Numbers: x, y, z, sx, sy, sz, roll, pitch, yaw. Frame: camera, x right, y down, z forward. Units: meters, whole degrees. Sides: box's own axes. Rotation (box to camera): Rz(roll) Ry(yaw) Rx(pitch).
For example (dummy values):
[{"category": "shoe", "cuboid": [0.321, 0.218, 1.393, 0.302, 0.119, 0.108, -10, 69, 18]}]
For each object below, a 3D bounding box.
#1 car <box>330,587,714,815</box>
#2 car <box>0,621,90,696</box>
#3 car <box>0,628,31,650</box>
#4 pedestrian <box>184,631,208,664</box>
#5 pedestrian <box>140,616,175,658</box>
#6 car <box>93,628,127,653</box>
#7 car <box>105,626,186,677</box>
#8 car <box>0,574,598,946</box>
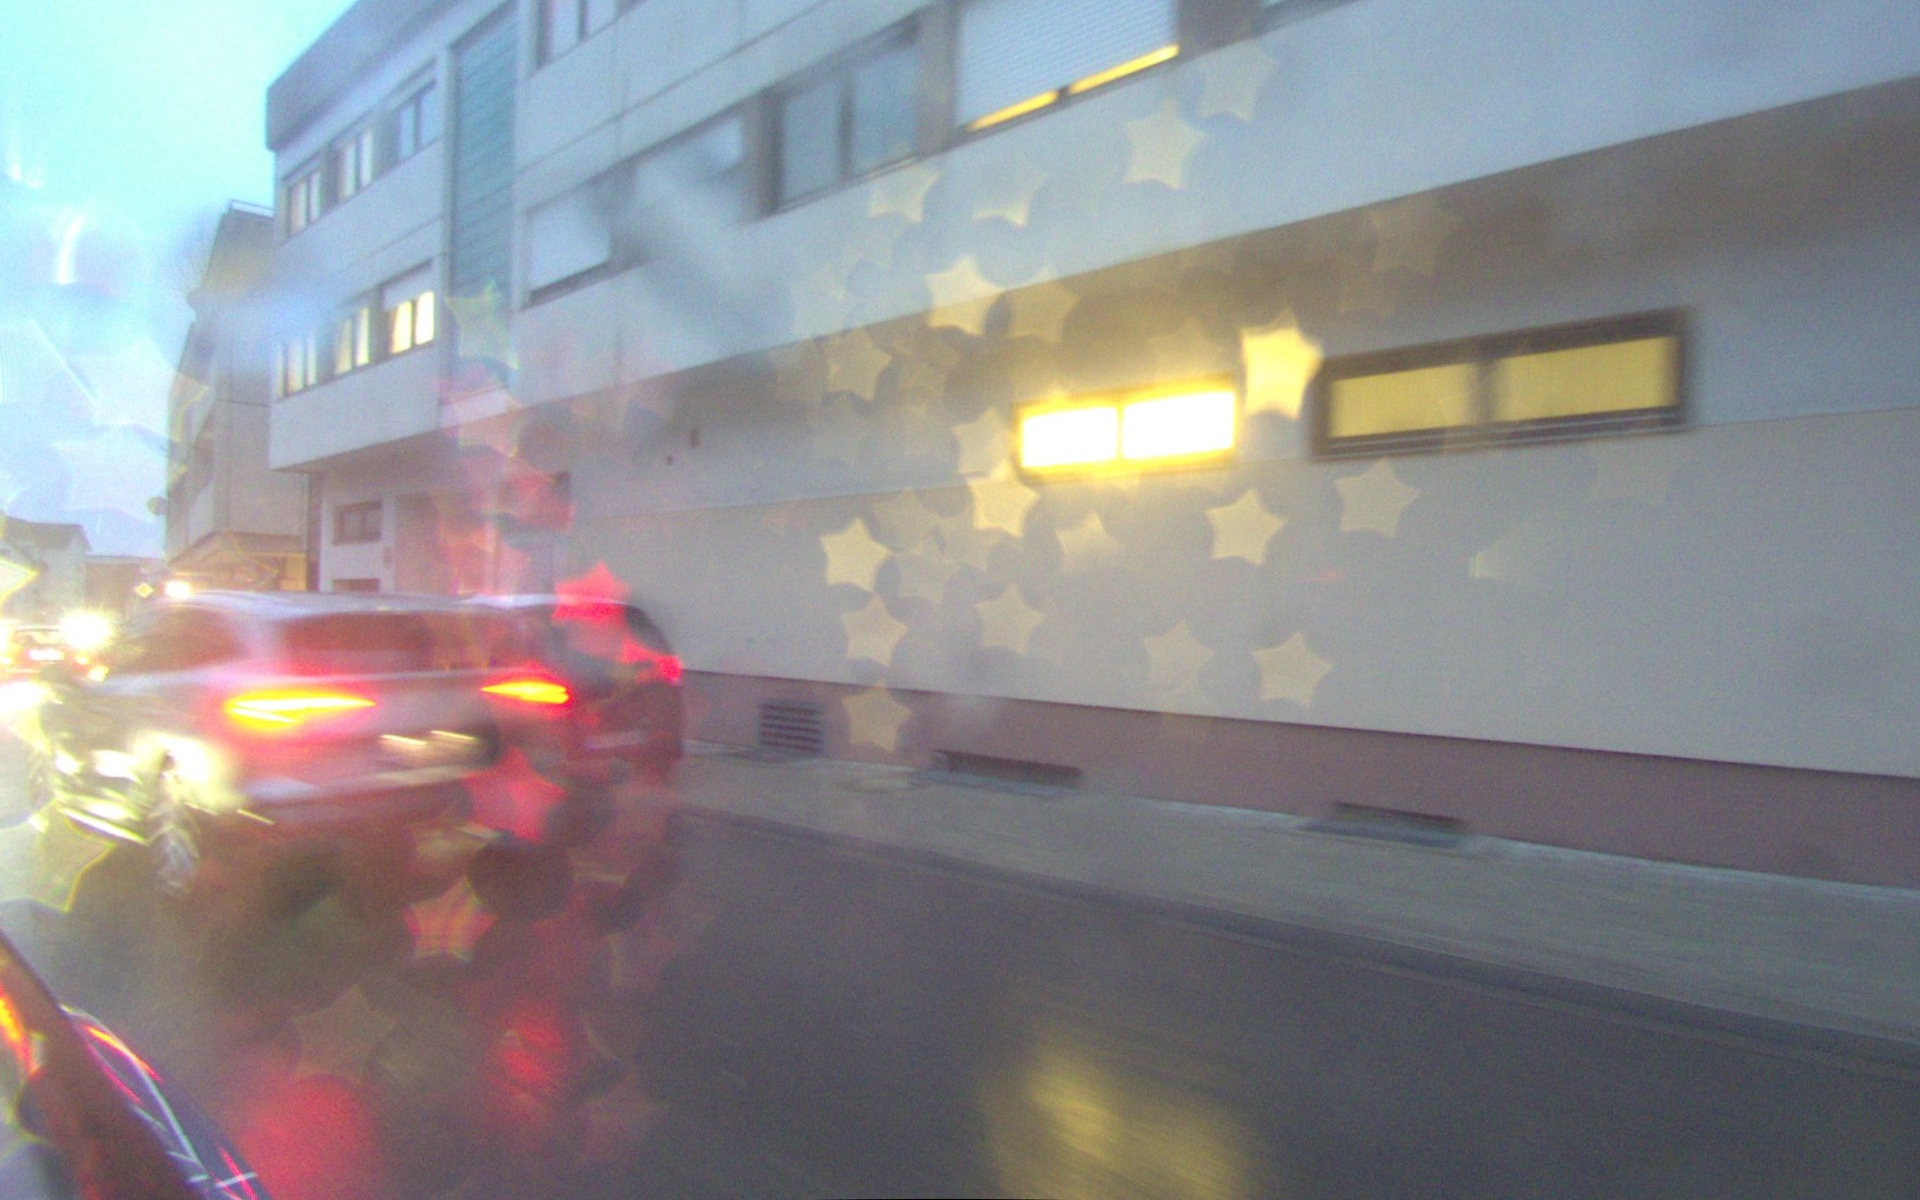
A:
[{"category": "car", "cuboid": [-4.129, 0.766, 9.272, 3.810, 1.655, 1.775, -2, -1, 41]}, {"category": "car", "cuboid": [-20.677, 1.252, 22.570, 3.407, 1.547, 1.619, -1, -2, 44]}, {"category": "car", "cuboid": [-68.802, 2.847, 73.415, 1.771, 1.522, 4.007, 4, -3, -39]}, {"category": "pedestrian", "cuboid": [-31.992, 1.981, 42.383, 0.746, 1.320, 0.829, 0, -1, -43]}, {"category": "pedestrian", "cuboid": [-38.572, 1.777, 48.634, 1.182, 1.953, 0.979, 2, -3, -33]}, {"category": "car", "cuboid": [-58.366, 2.772, 69.525, 1.699, 1.626, 3.822, -1, -1, -40]}, {"category": "car", "cuboid": [-25.136, 1.540, 31.176, 1.655, 1.457, 4.433, 3, -3, -42]}, {"category": "car", "cuboid": [-4.391, 0.747, 6.406, 4.390, 1.608, 1.795, -1, -2, 36]}]
